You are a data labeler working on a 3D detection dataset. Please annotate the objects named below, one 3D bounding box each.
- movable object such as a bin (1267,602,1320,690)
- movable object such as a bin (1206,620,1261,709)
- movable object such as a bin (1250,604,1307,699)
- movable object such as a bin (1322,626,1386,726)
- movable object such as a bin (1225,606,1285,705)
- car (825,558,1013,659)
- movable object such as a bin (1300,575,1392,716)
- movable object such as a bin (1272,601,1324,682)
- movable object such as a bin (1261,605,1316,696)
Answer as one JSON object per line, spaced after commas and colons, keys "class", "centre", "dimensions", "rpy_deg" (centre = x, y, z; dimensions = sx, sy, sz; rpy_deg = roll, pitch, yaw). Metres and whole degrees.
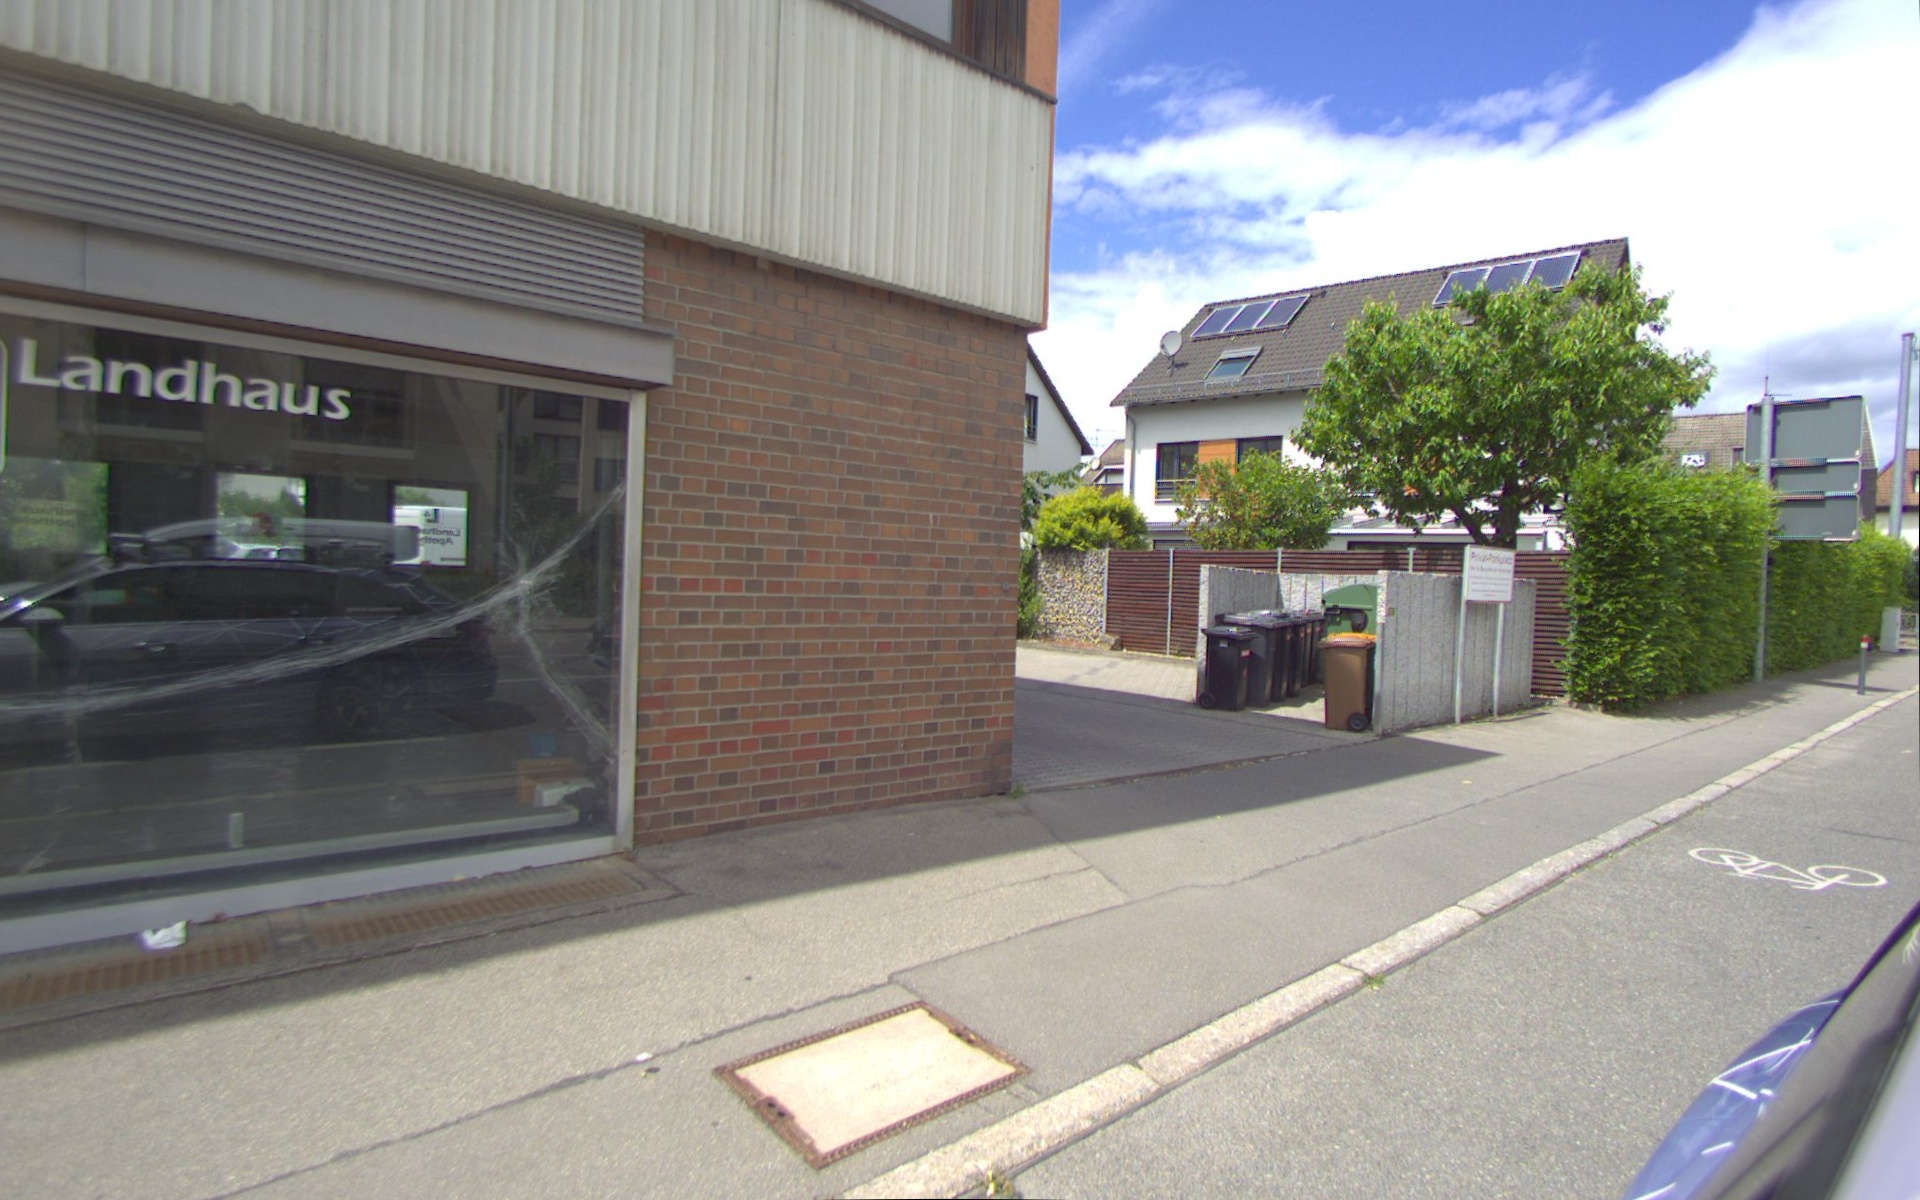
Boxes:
{"class": "movable object such as a bin", "centre": [4.318, 0.586, 13.097], "dimensions": [0.590, 1.088, 0.485], "rpy_deg": [1, 1, 25]}
{"class": "movable object such as a bin", "centre": [3.076, 0.710, 11.376], "dimensions": [0.513, 0.933, 0.475], "rpy_deg": [1, 1, 25]}
{"class": "movable object such as a bin", "centre": [3.829, 0.603, 12.167], "dimensions": [0.590, 1.088, 0.485], "rpy_deg": [1, 1, 25]}
{"class": "movable object such as a bin", "centre": [3.942, 0.745, 10.124], "dimensions": [0.514, 0.933, 0.474], "rpy_deg": [1, 1, 31]}
{"class": "movable object such as a bin", "centre": [3.428, 0.628, 11.763], "dimensions": [0.590, 1.088, 0.485], "rpy_deg": [1, 1, 25]}
{"class": "car", "centre": [-0.618, 0.063, 18.497], "dimensions": [1.977, 1.615, 3.971], "rpy_deg": [1, 2, 22]}
{"class": "movable object such as a bin", "centre": [4.232, 0.472, 11.103], "dimensions": [0.471, 1.473, 0.808], "rpy_deg": [0, 1, -45]}
{"class": "movable object such as a bin", "centre": [4.765, 0.572, 14.259], "dimensions": [0.591, 1.088, 0.484], "rpy_deg": [1, 1, 30]}
{"class": "movable object such as a bin", "centre": [4.100, 0.613, 12.618], "dimensions": [0.590, 1.088, 0.485], "rpy_deg": [1, 1, 25]}
